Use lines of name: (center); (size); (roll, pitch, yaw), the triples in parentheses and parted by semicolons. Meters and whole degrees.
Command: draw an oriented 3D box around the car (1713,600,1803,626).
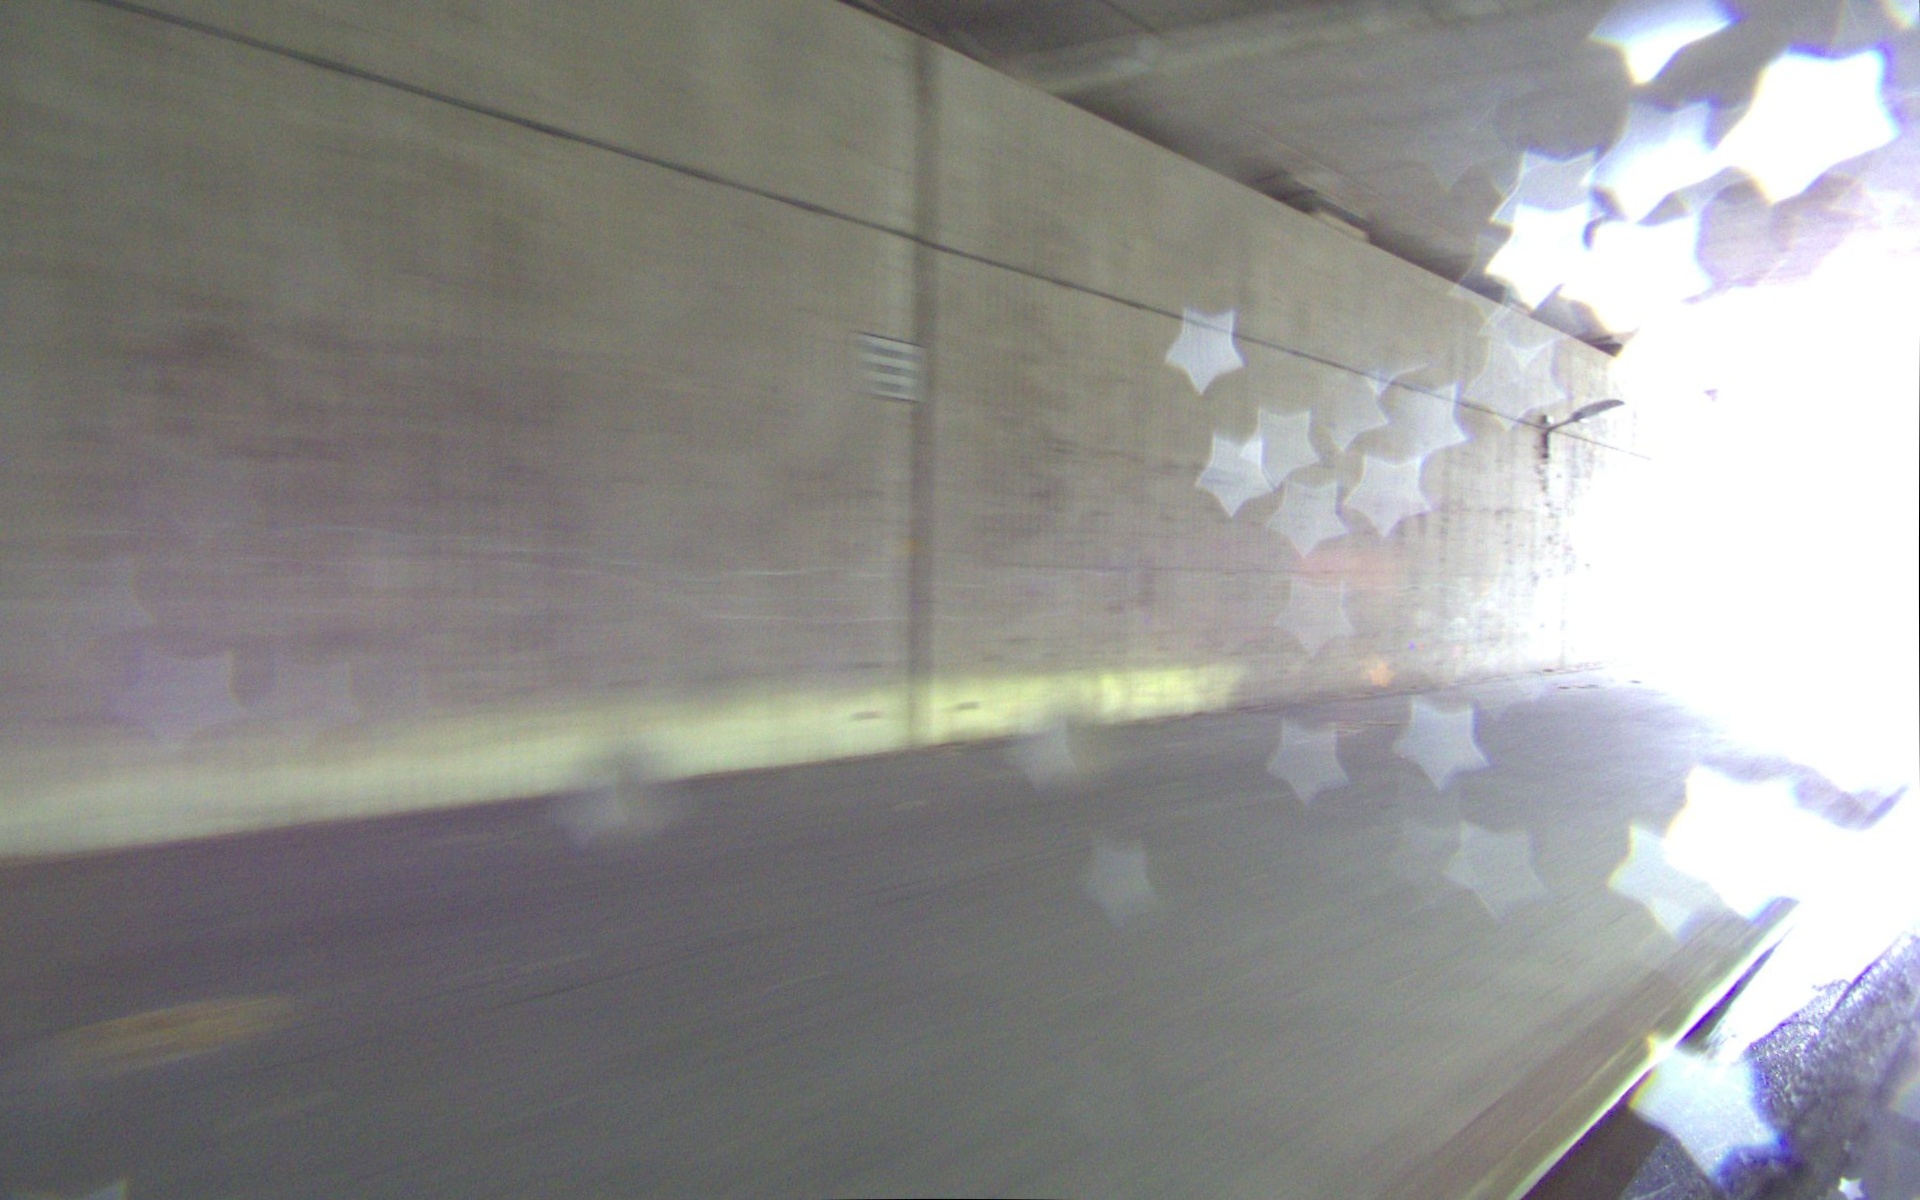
car: (47.856, 0.769, 60.764); (3.800, 1.551, 1.711); (0, 0, 15)
